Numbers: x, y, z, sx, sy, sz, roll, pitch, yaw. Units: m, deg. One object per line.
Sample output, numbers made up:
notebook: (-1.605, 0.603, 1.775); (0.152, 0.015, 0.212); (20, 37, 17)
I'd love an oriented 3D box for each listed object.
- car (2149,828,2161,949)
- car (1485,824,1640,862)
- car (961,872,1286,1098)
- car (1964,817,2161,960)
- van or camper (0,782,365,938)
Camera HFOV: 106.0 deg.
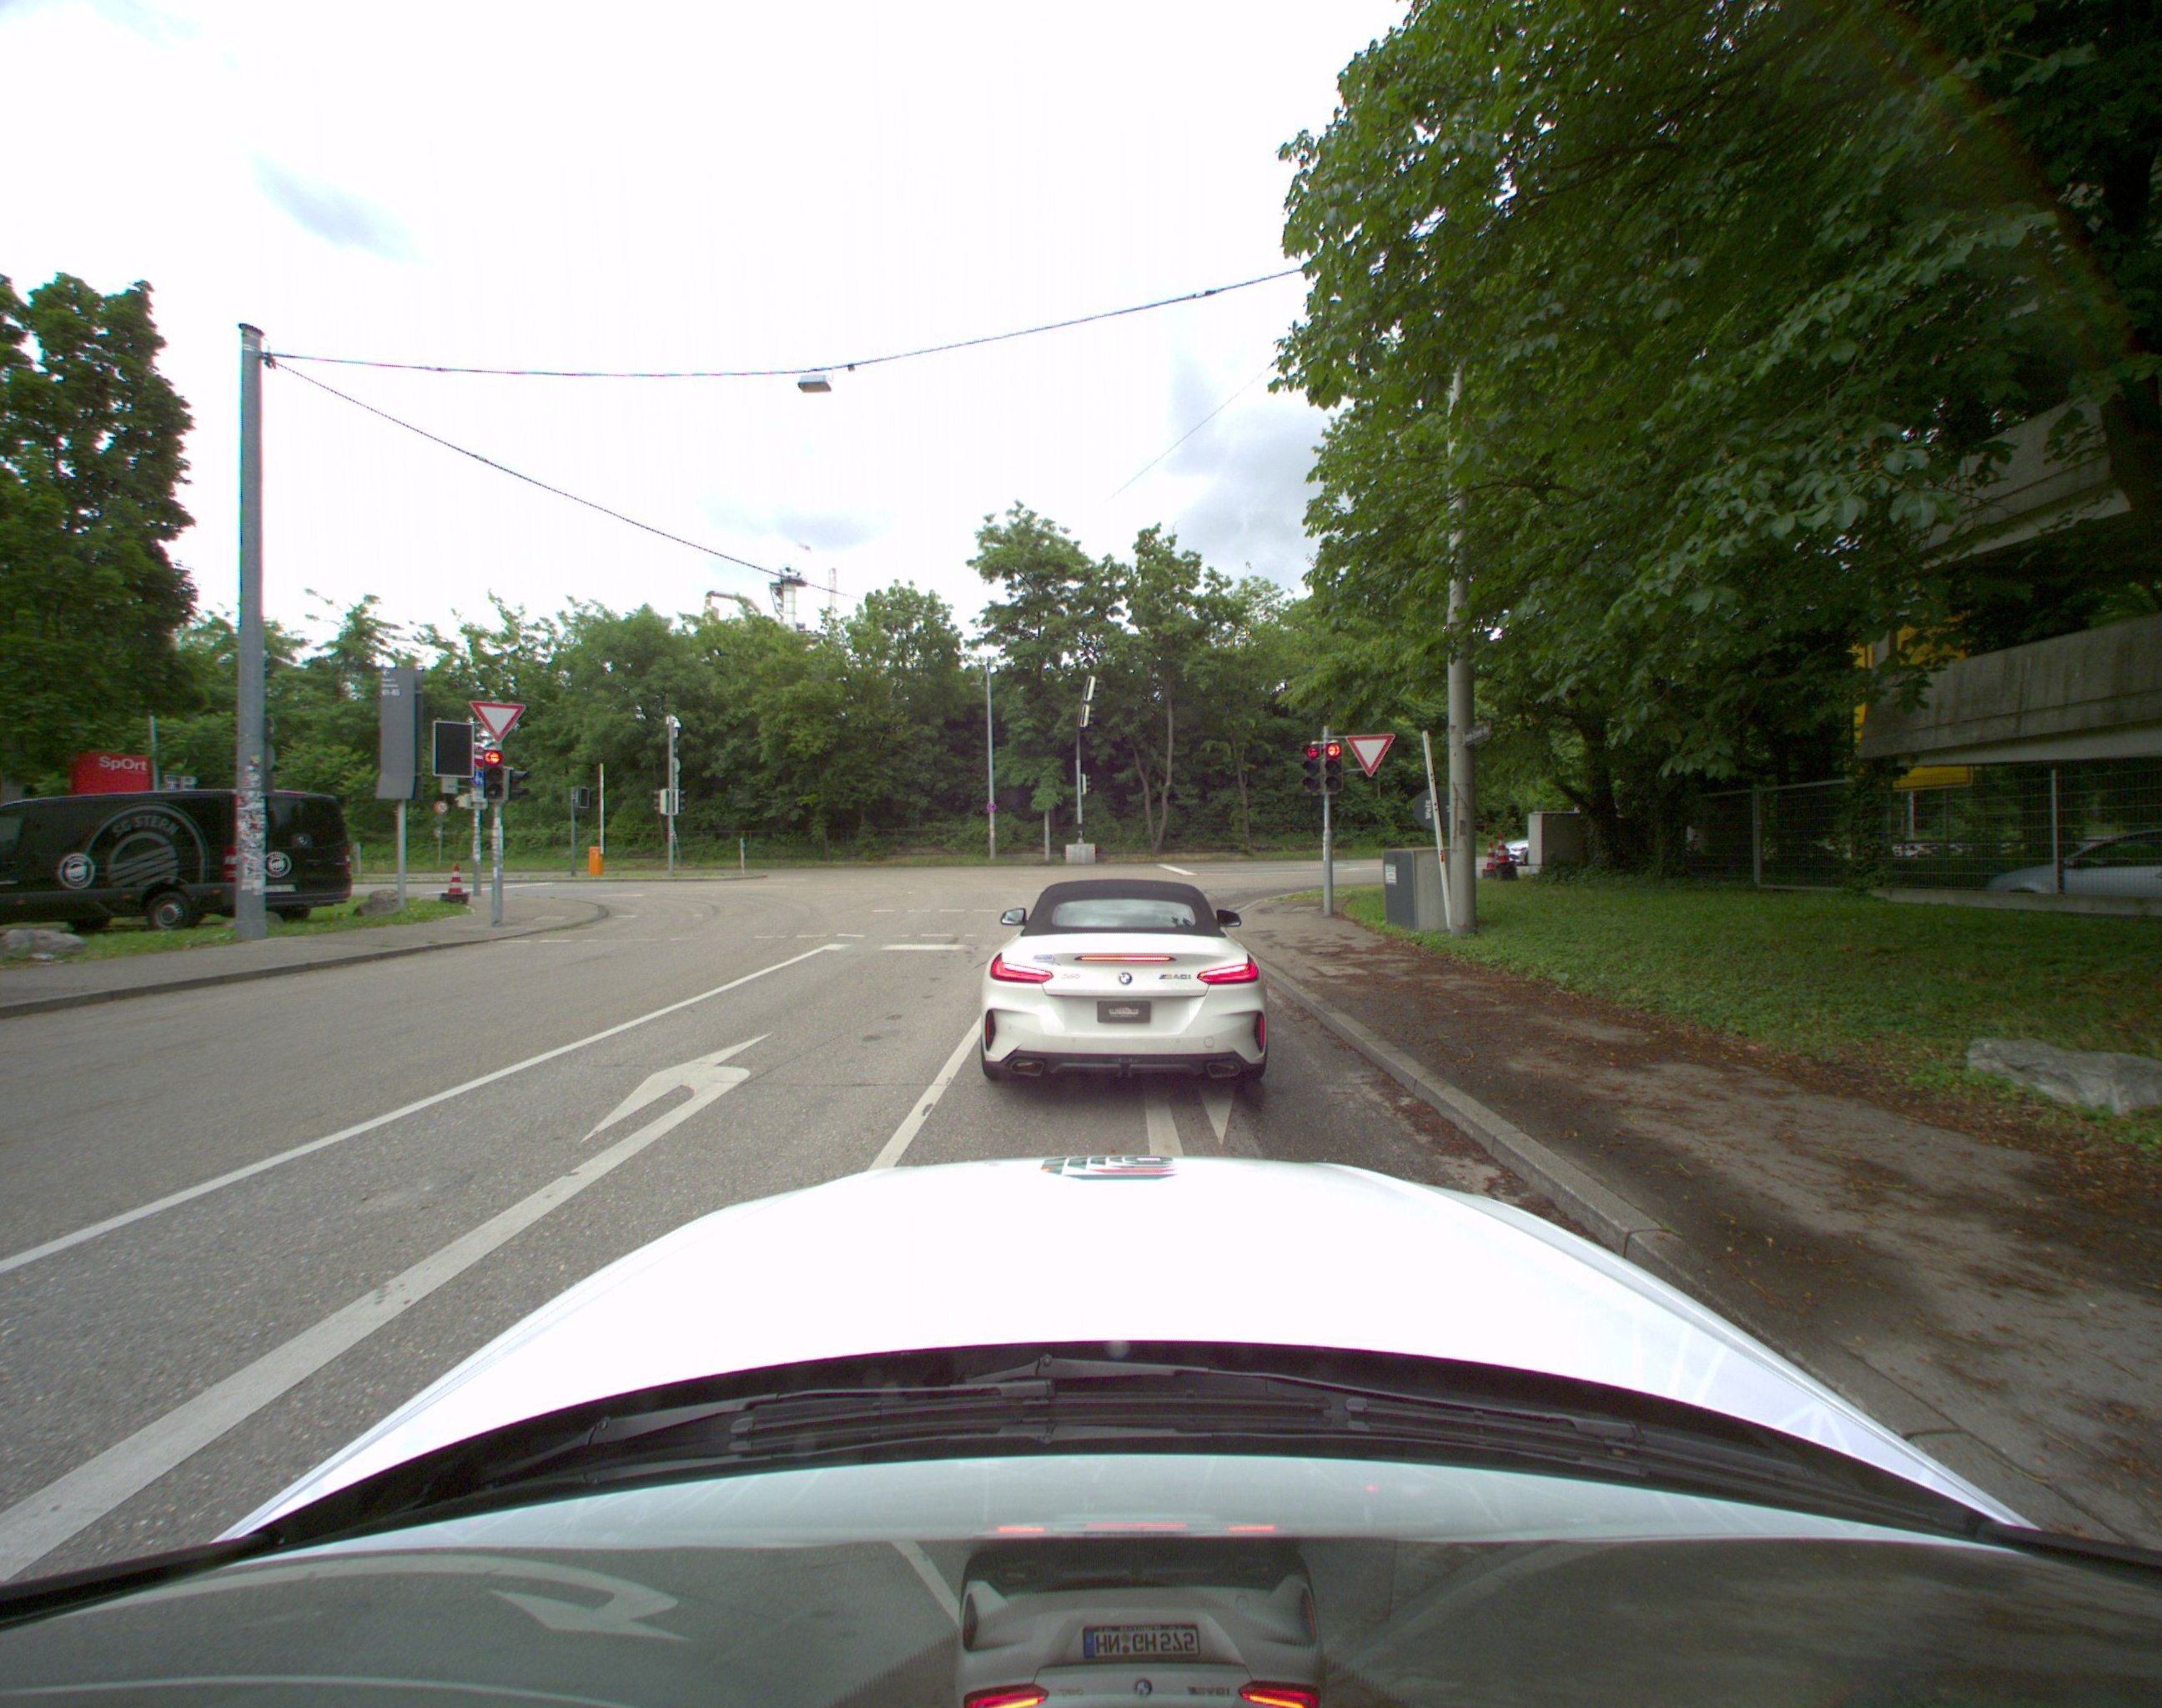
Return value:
car: (16.005, 0.450, 9.737); (1.574, 1.708, 3.770); (0, -1, 2)
car: (18.088, -0.418, 30.765); (4.732, 1.333, 1.835); (-1, 2, 2)
car: (0.240, 0.787, 6.580); (1.822, 1.257, 3.998); (0, -1, 0)
car: (13.612, 0.423, 10.044); (1.475, 1.708, 3.720); (0, -1, 2)
van or camper: (-15.892, 0.156, 13.943); (5.513, 2.314, 2.063); (-2, -2, 2)
